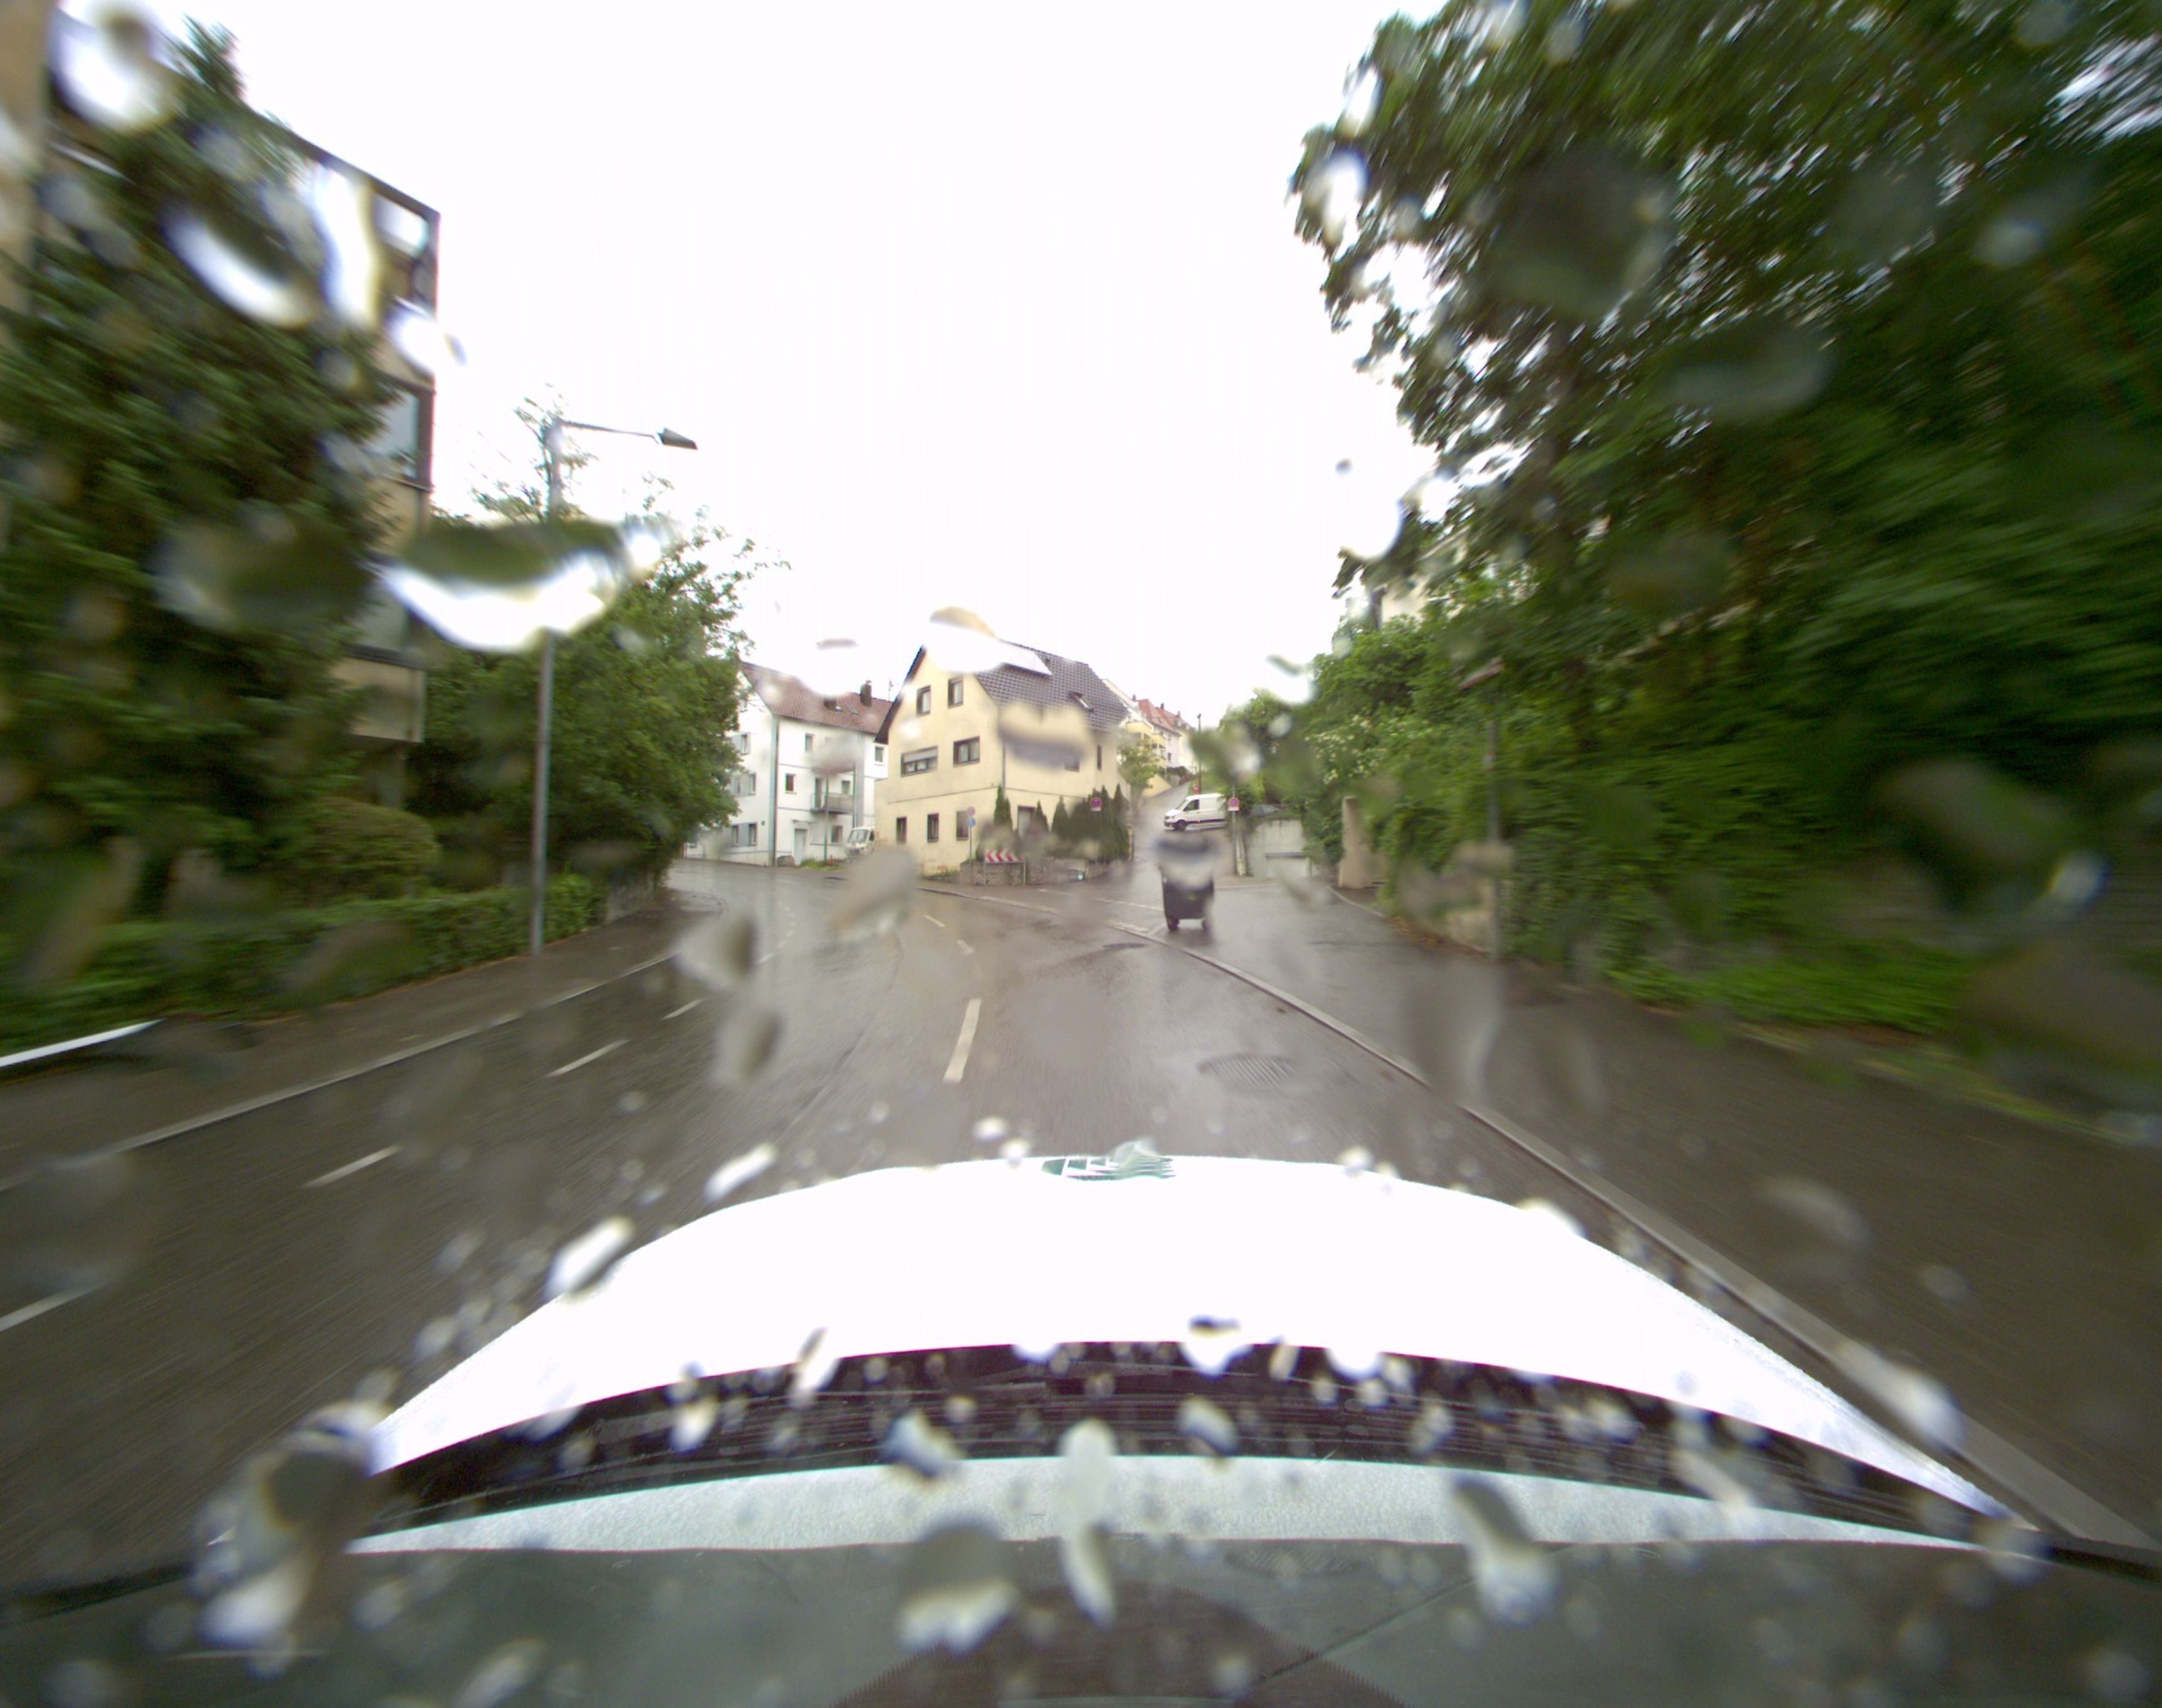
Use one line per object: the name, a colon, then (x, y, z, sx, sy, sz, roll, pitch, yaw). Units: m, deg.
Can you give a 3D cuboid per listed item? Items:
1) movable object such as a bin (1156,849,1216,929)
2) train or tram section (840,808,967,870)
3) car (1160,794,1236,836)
movable object such as a bin: (2.008, 0.627, 15.461, 1.075, 1.442, 1.461, 0, 0, 8)
train or tram section: (-9.807, -0.812, 45.714, 2.335, 3.203, 6.913, -1, 0, 41)
car: (8.044, -2.663, 56.308, 4.928, 2.569, 1.904, -3, -1, -1)
